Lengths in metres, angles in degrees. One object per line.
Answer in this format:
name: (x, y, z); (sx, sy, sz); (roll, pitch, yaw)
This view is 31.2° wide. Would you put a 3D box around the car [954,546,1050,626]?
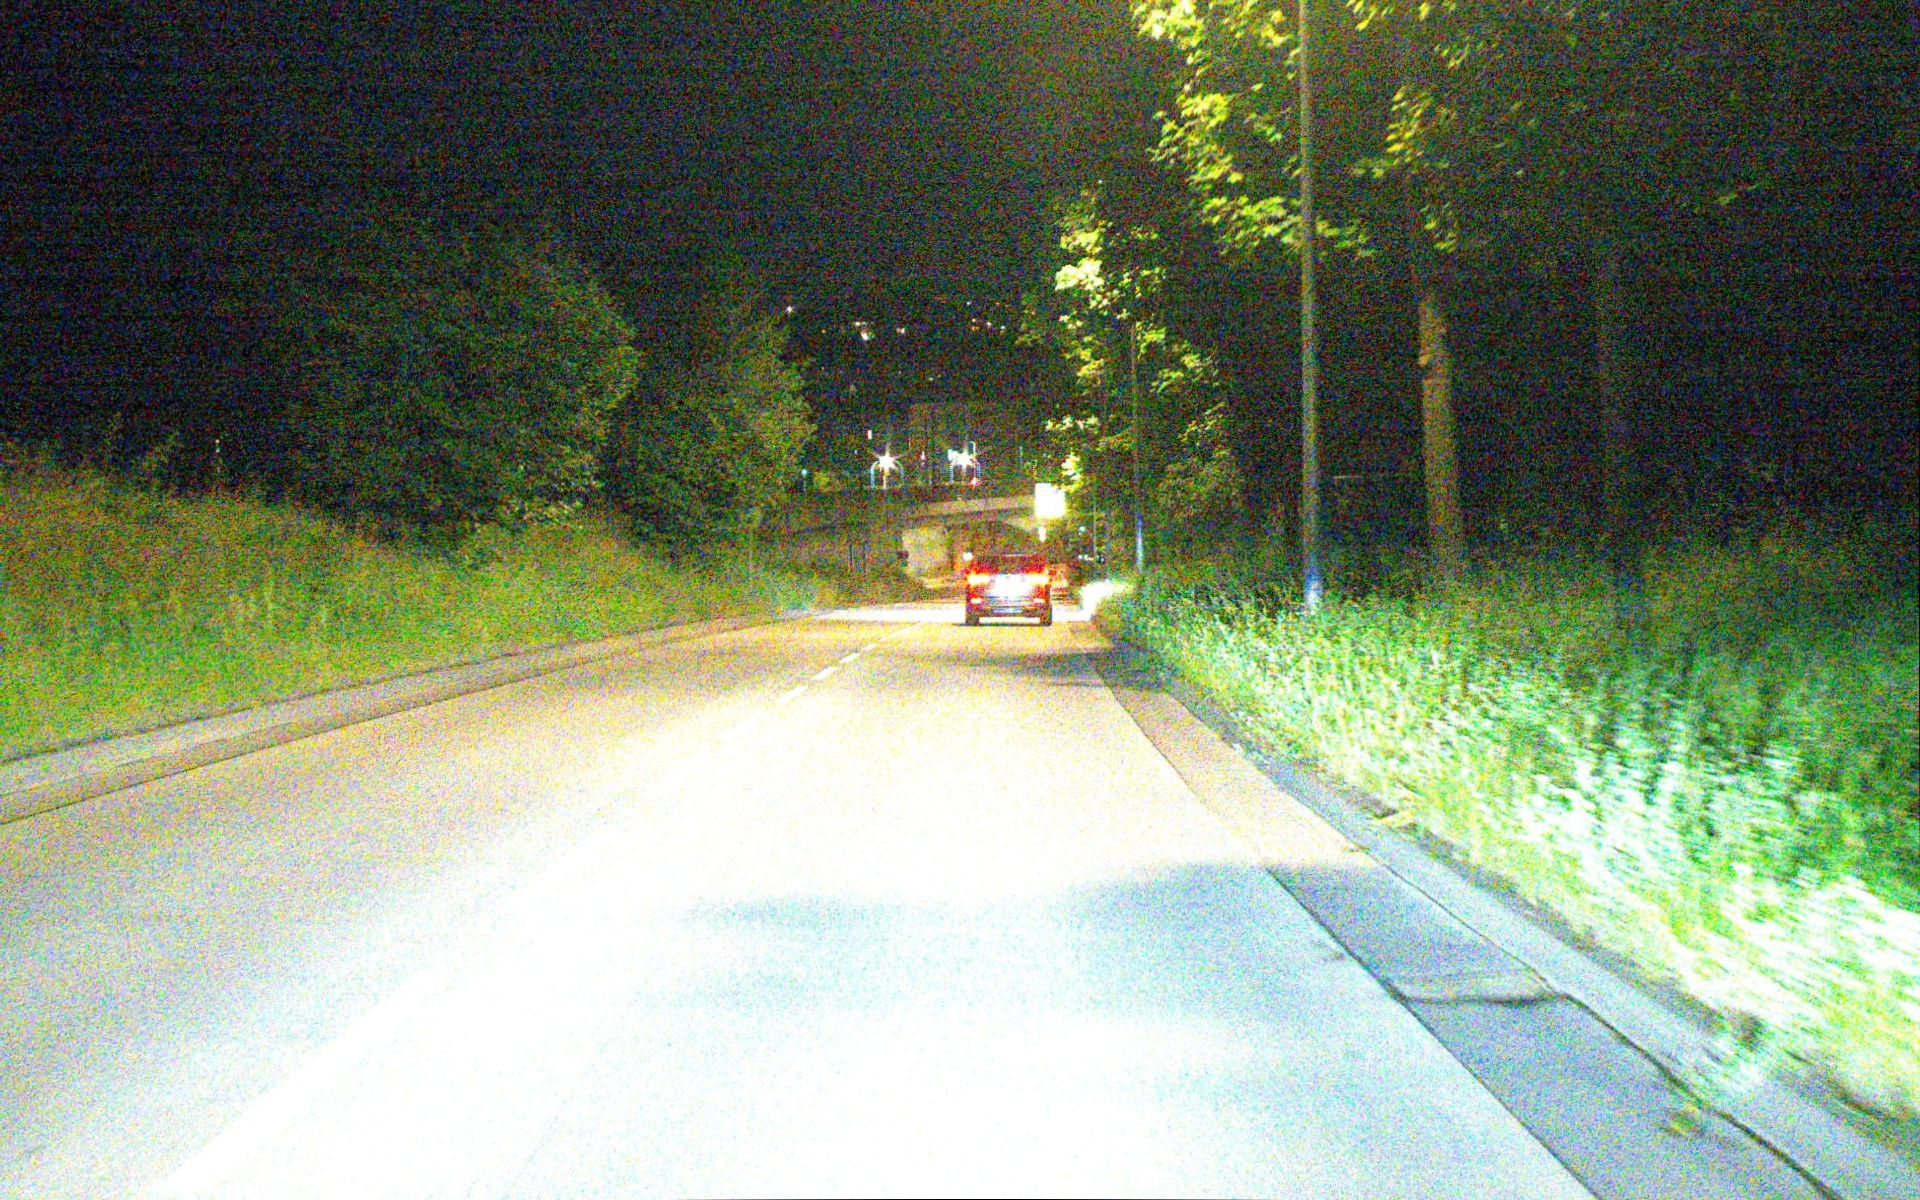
car: (0.855, -0.324, 72.719); (1.763, 1.636, 3.723); (0, 1, -4)
